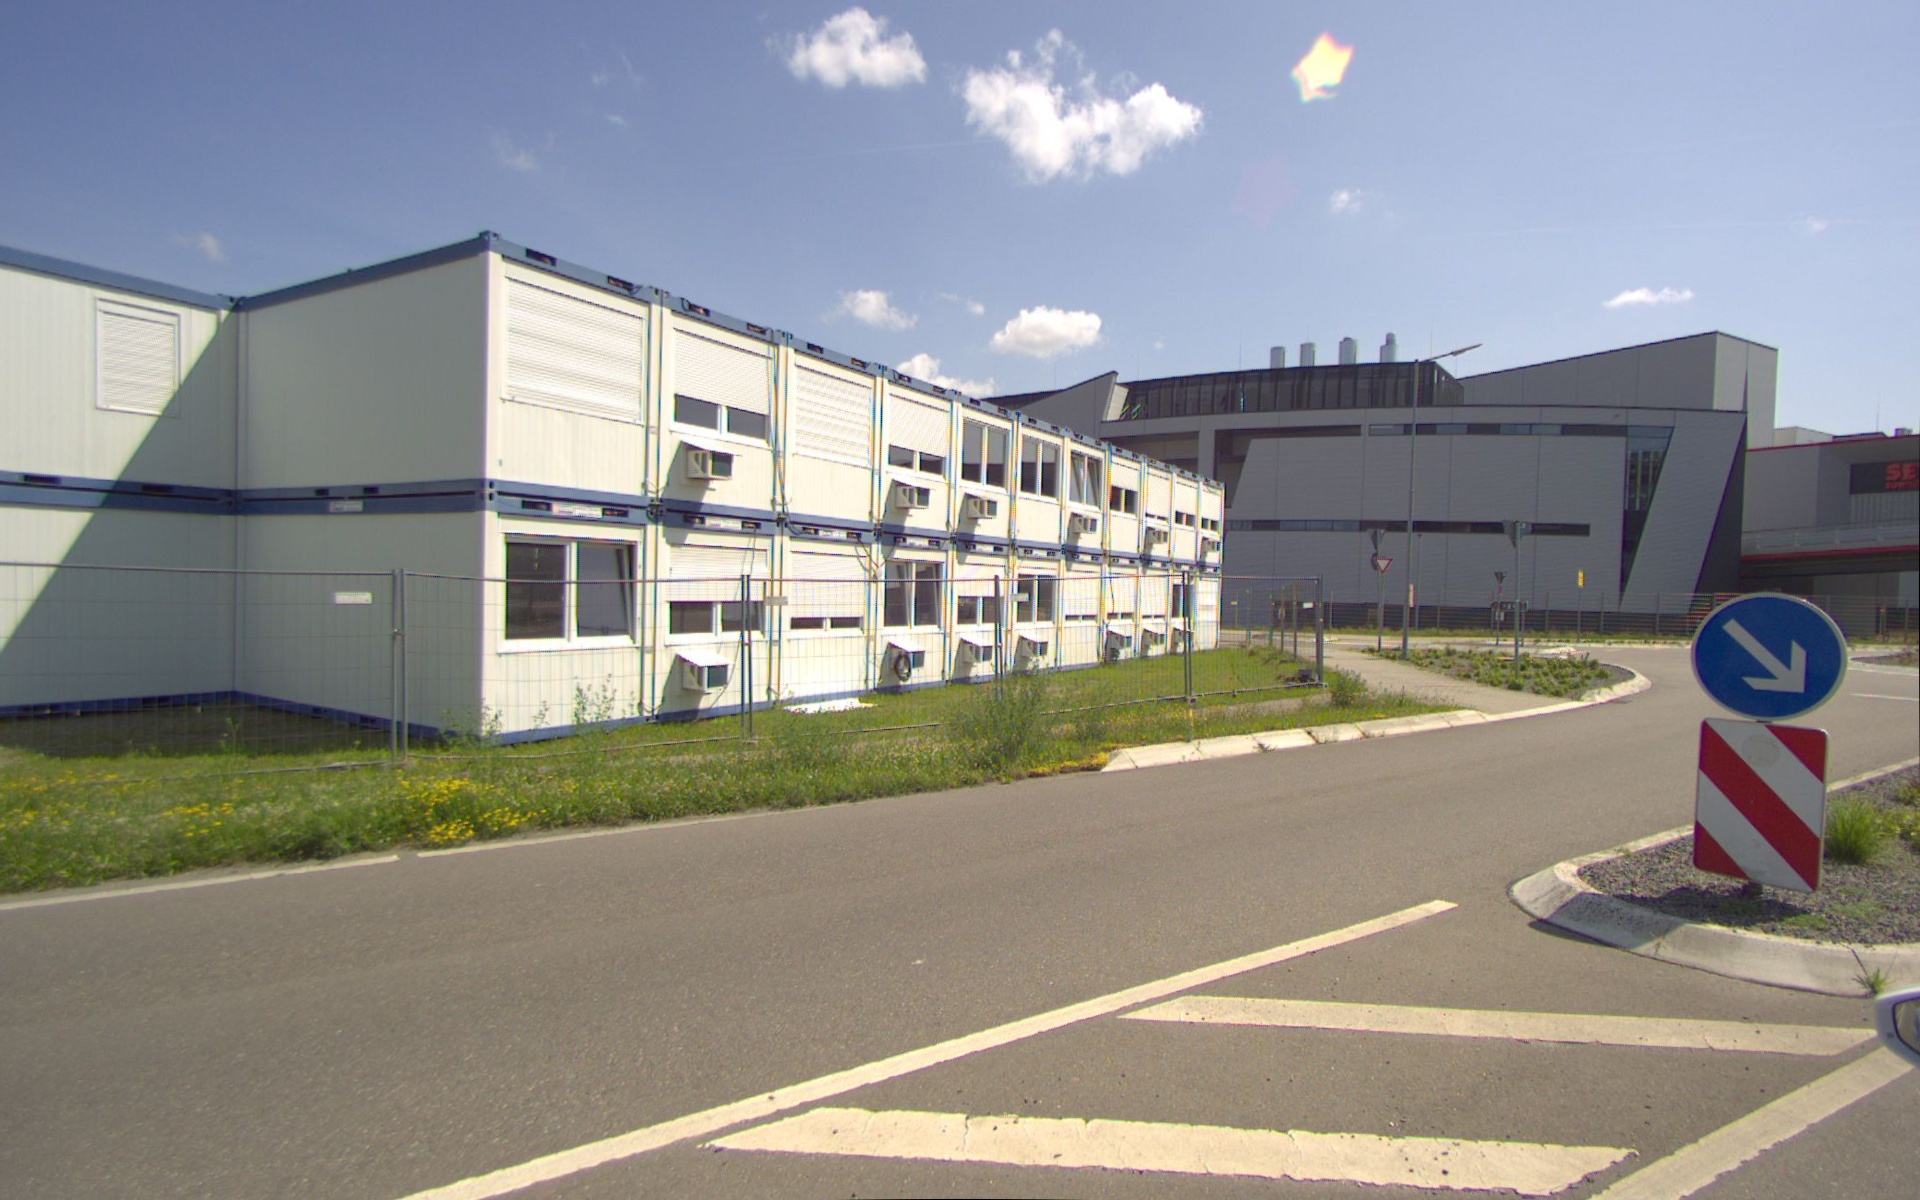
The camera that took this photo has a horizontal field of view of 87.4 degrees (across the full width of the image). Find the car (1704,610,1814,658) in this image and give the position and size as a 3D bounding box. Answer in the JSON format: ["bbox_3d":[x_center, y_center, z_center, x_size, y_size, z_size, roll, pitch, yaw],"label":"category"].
[{"bbox_3d":[25.994,1.101,32.659,4.012,1.447,1.758,2,-1,-36],"label":"car"}]
